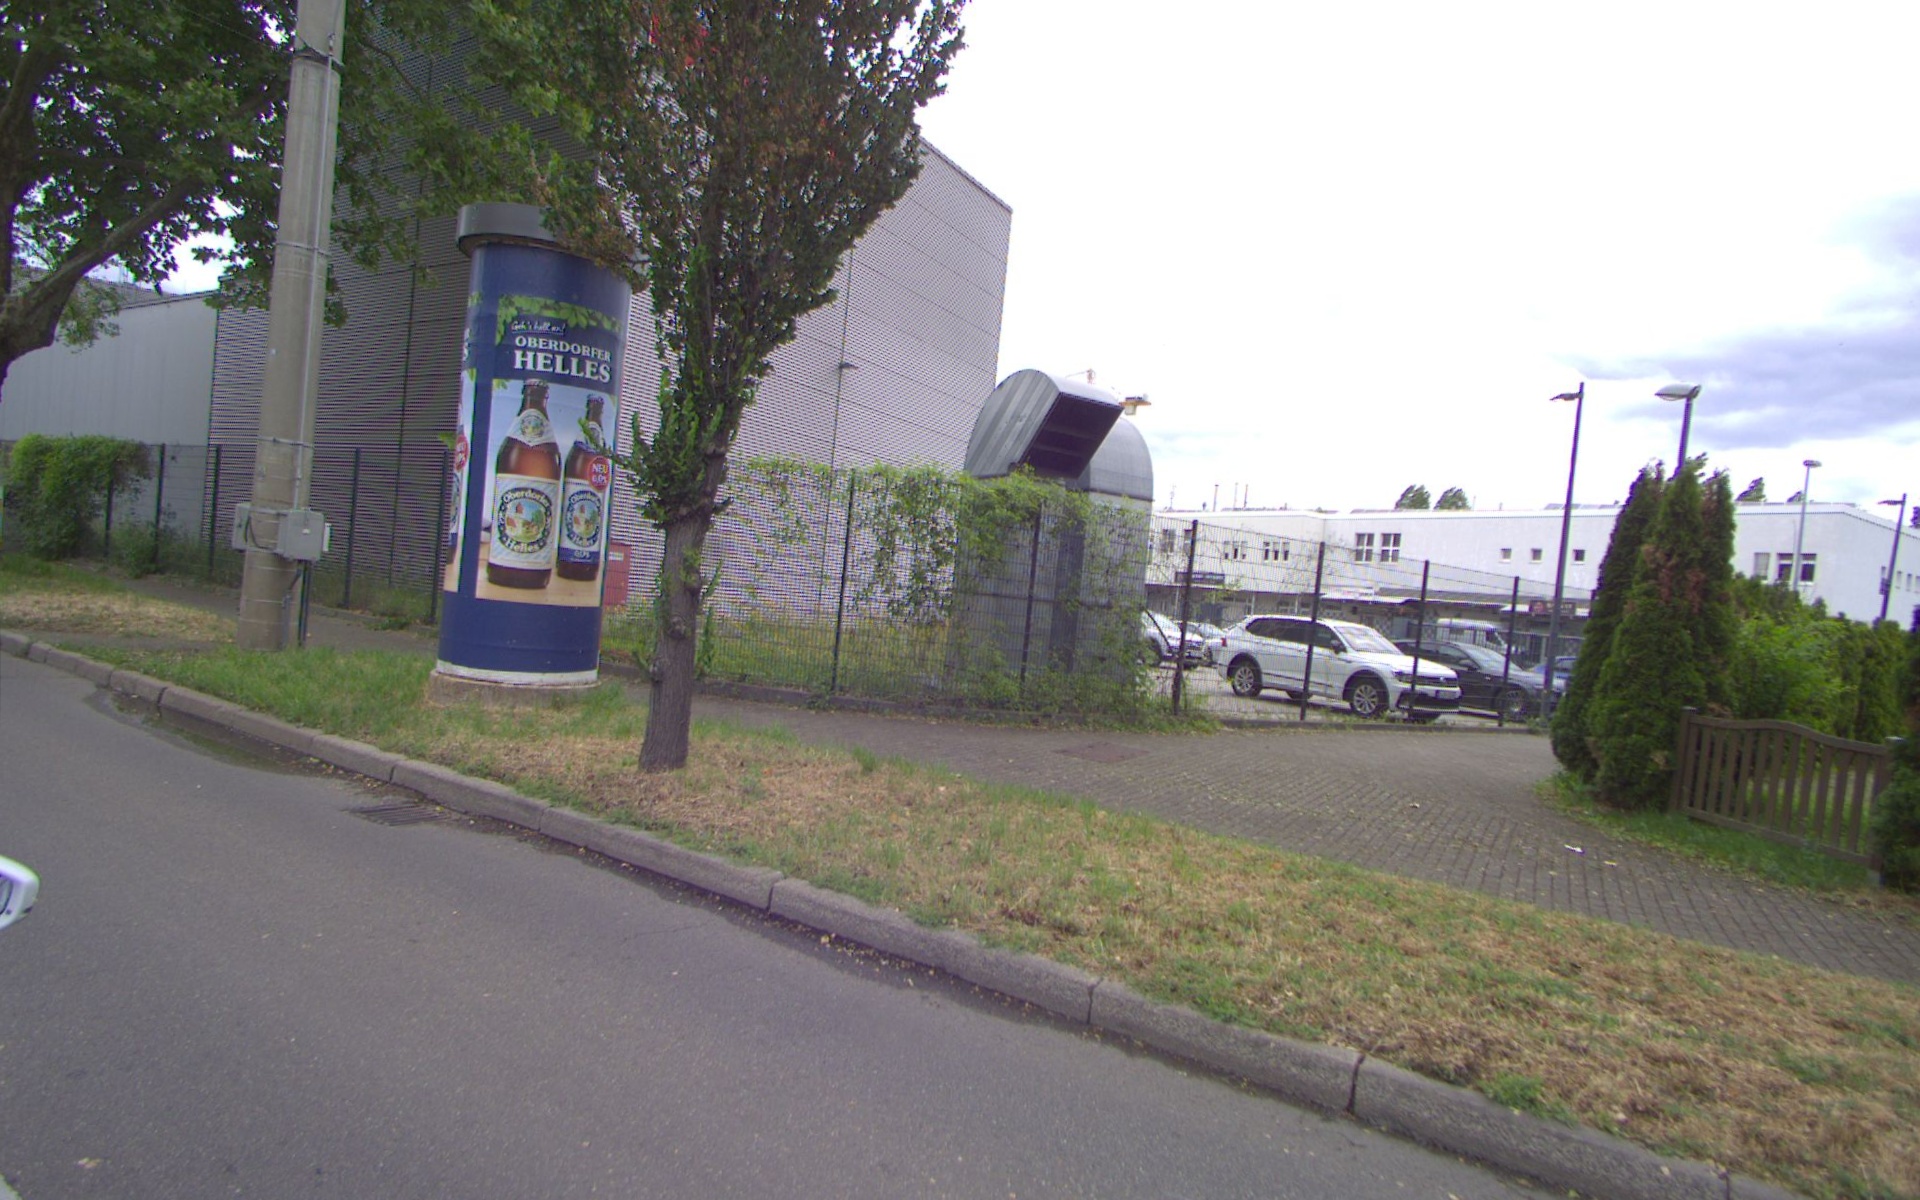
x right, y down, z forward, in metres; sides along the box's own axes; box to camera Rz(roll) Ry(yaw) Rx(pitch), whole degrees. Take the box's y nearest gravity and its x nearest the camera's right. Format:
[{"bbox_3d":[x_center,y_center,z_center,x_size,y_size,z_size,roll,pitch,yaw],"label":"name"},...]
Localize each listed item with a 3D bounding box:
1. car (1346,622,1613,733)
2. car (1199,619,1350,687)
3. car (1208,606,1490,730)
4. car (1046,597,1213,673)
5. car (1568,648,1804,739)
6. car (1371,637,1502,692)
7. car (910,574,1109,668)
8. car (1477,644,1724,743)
[{"bbox_3d":[10.667,1.540,21.020,1.978,1.686,4.464,6,1,-31],"label":"car"},{"bbox_3d":[10.086,1.668,32.551,1.982,1.668,4.233,8,-2,-34],"label":"car"},{"bbox_3d":[7.001,1.178,18.616,1.978,1.686,4.464,6,1,-31],"label":"car"},{"bbox_3d":[4.904,0.983,29.553,4.418,1.687,1.999,6,1,-1],"label":"car"},{"bbox_3d":[18.807,2.385,26.277,1.978,1.686,4.464,6,1,-31],"label":"car"},{"bbox_3d":[19.106,2.569,40.493,1.982,1.668,4.233,8,-2,-34],"label":"car"},{"bbox_3d":[1.174,0.493,24.196,4.197,1.668,1.999,6,-2,29],"label":"car"},{"bbox_3d":[15.137,2.178,24.055,1.978,1.686,4.464,6,1,-31],"label":"car"}]
